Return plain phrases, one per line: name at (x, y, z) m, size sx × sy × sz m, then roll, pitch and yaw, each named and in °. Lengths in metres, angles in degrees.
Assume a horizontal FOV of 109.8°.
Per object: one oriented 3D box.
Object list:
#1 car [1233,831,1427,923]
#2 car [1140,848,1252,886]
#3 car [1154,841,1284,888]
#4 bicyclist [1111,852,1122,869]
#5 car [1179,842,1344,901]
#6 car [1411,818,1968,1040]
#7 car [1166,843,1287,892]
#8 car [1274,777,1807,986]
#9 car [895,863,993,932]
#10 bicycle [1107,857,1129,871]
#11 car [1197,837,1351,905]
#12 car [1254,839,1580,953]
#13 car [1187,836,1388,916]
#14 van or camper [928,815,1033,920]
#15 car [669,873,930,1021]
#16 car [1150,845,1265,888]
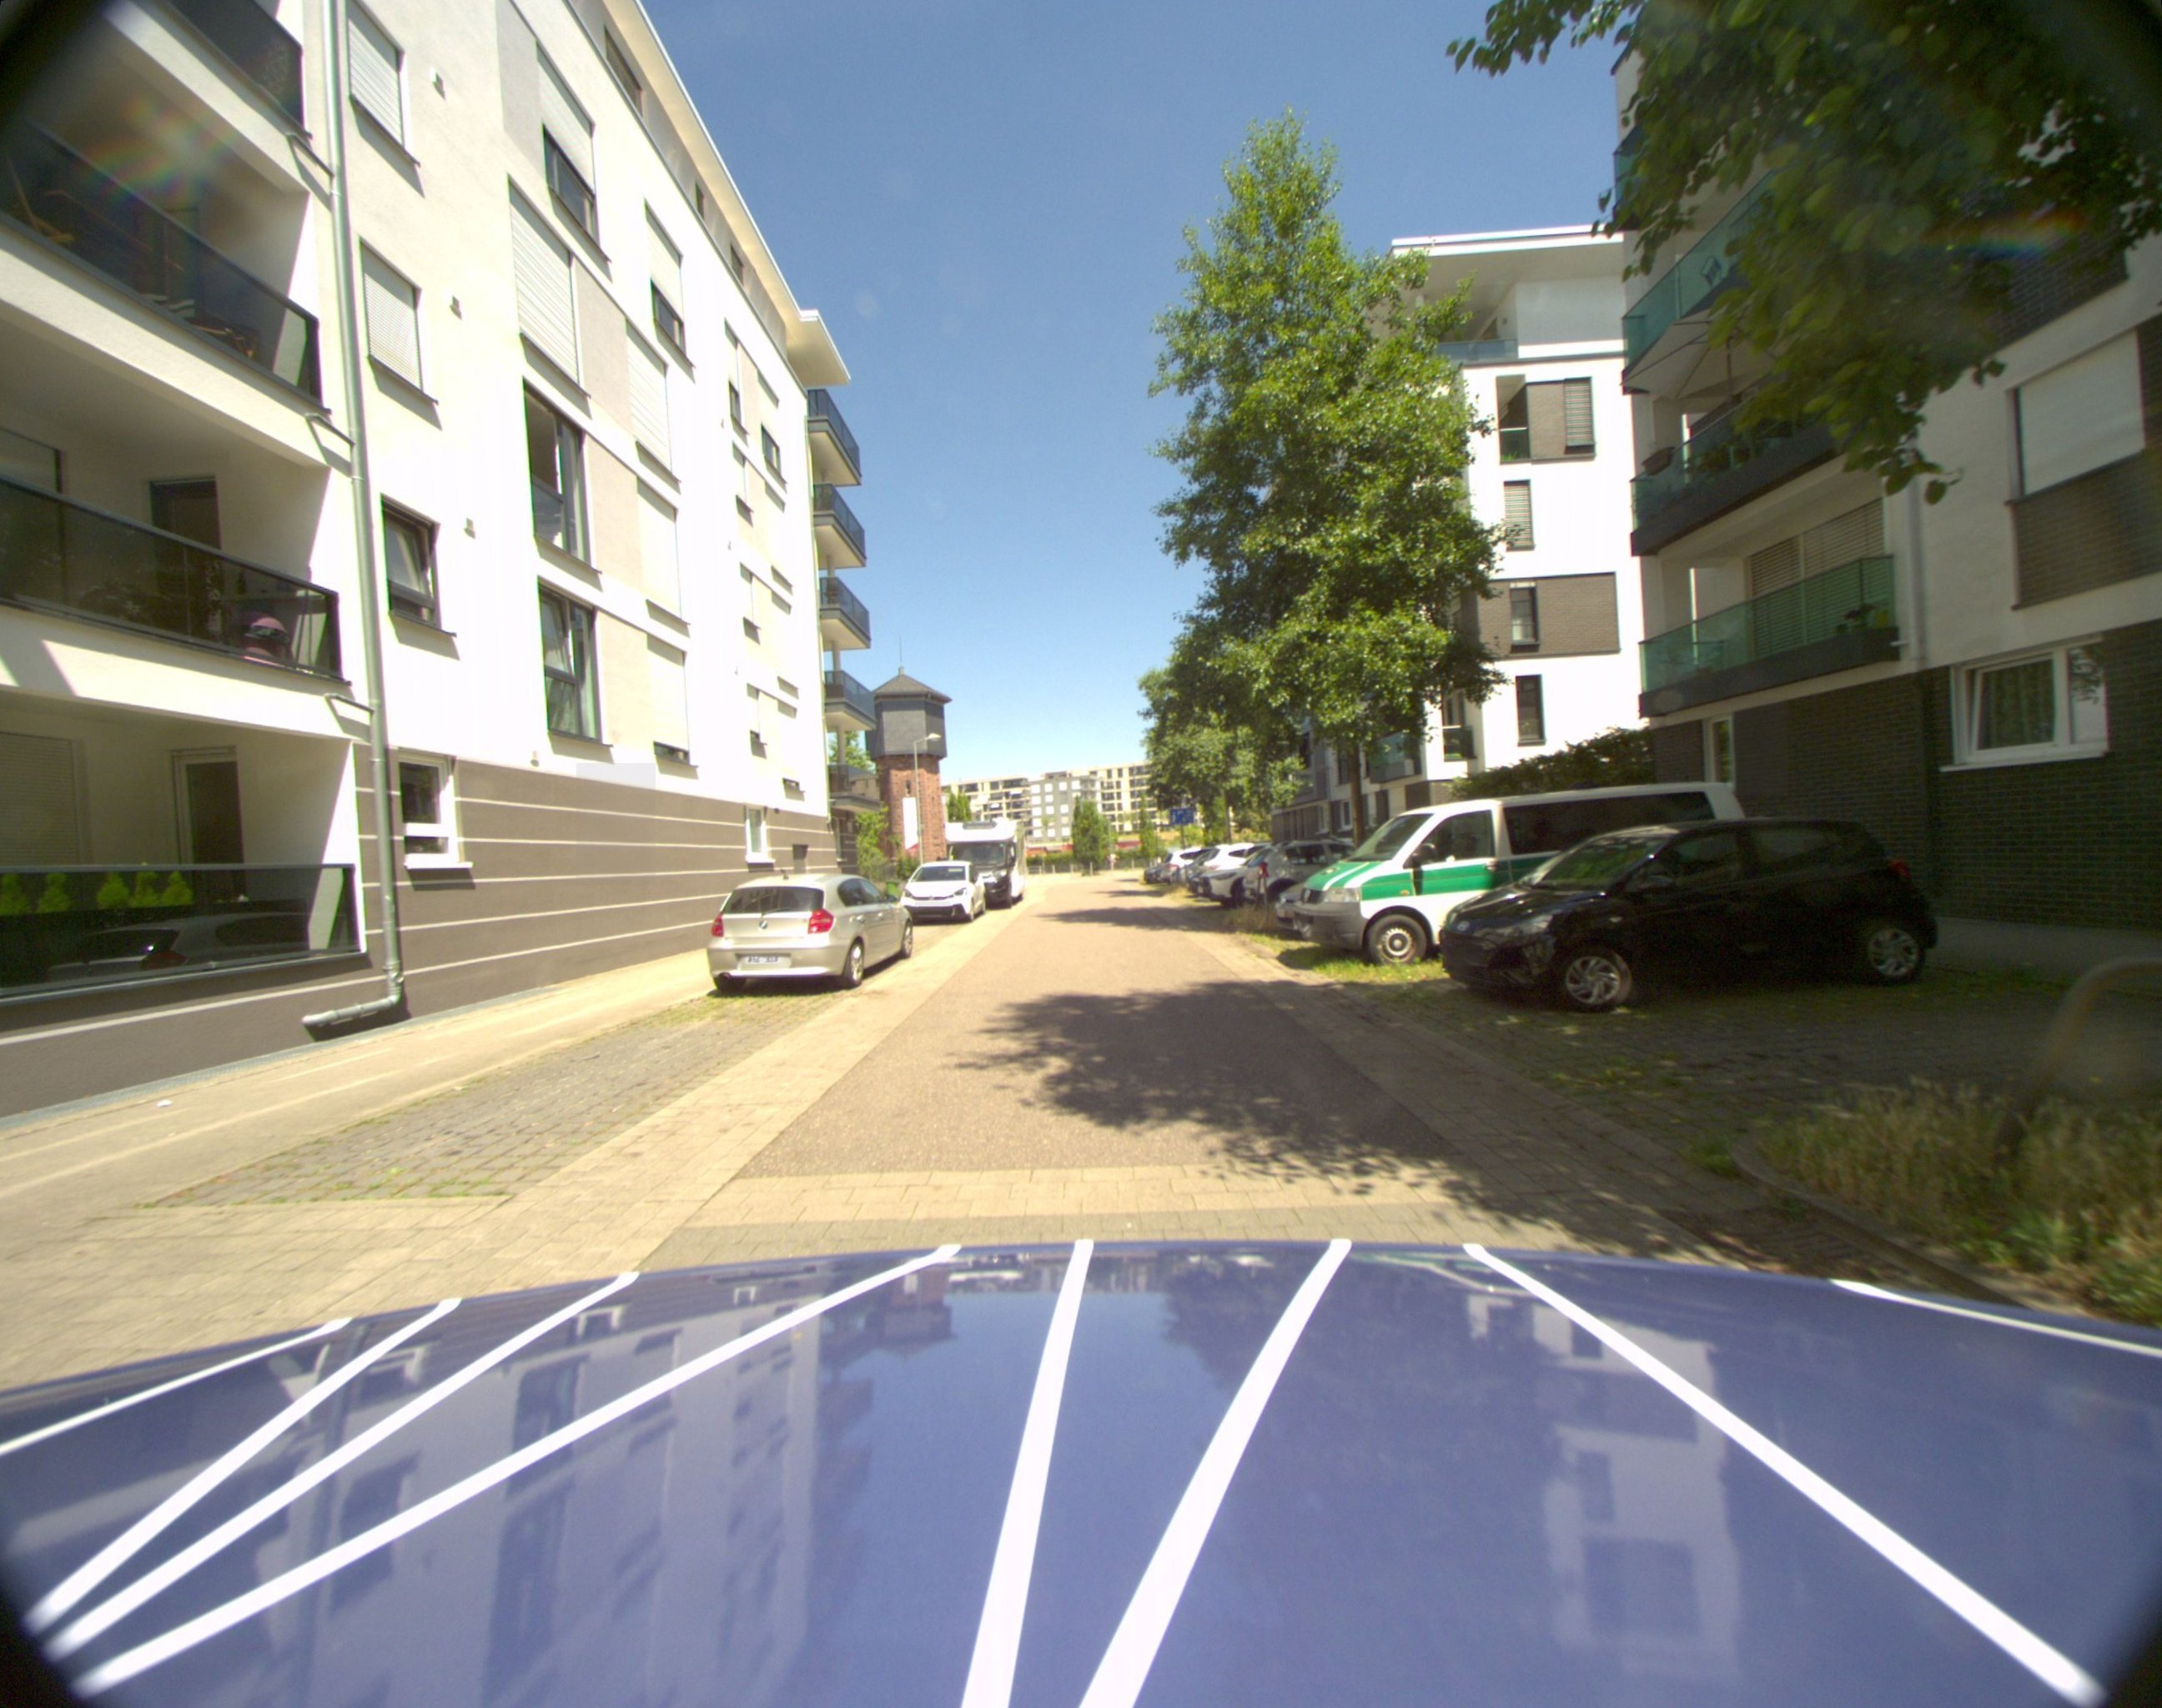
car at (5.527, 0.498, 17.217) m, size 3.689 × 1.666 × 1.852 m, roll -5°, pitch 0°, yaw 0°
car at (5.622, 0.629, 37.493) m, size 5.112 × 1.476 × 1.927 m, roll -4°, pitch 1°, yaw -2°
car at (5.818, 0.433, 32.431) m, size 5.042 × 1.622 × 2.042 m, roll -4°, pitch 0°, yaw -2°
bicyclist at (3.310, 0.605, 70.547) m, size 0.659 × 1.426 × 0.735 m, roll -4°, pitch 0°, yaw 38°
car at (5.823, 0.539, 24.931) m, size 4.862 × 1.448 × 1.829 m, roll -5°, pitch 0°, yaw 1°
car at (5.216, 0.597, 6.890) m, size 3.632 × 1.473 × 1.678 m, roll -5°, pitch 0°, yaw 0°
car at (5.620, 0.518, 29.713) m, size 4.262 × 1.521 × 1.822 m, roll -5°, pitch 0°, yaw -3°
car at (5.438, 0.324, 9.677) m, size 5.355 × 2.098 × 2.187 m, roll -3°, pitch 0°, yaw 2°
car at (-3.412, 1.027, 19.702) m, size 1.812 × 1.496 × 4.260 m, roll -2°, pitch 0°, yaw -2°
bicycle at (3.404, 0.948, 70.453) m, size 1.937 × 1.192 × 0.592 m, roll -4°, pitch 0°, yaw 38°
car at (5.601, 0.481, 22.487) m, size 3.989 × 1.619 × 1.950 m, roll -5°, pitch 0°, yaw 3°
car at (5.338, 0.636, 12.522) m, size 4.432 × 1.481 × 2.000 m, roll -3°, pitch 0°, yaw -1°
car at (5.303, 0.542, 19.858) m, size 4.571 × 1.585 × 1.966 m, roll -5°, pitch 0°, yaw -5°
van or camper at (-3.154, 0.353, 25.981) m, size 2.445 × 2.889 × 7.825 m, roll -4°, pitch 1°, yaw -1°
car at (-3.588, 1.098, 10.690) m, size 1.850 × 1.408 × 4.426 m, roll -3°, pitch 0°, yaw 1°
car at (5.734, 0.539, 34.849) m, size 4.831 × 1.441 × 1.827 m, roll -6°, pitch 1°, yaw -2°
